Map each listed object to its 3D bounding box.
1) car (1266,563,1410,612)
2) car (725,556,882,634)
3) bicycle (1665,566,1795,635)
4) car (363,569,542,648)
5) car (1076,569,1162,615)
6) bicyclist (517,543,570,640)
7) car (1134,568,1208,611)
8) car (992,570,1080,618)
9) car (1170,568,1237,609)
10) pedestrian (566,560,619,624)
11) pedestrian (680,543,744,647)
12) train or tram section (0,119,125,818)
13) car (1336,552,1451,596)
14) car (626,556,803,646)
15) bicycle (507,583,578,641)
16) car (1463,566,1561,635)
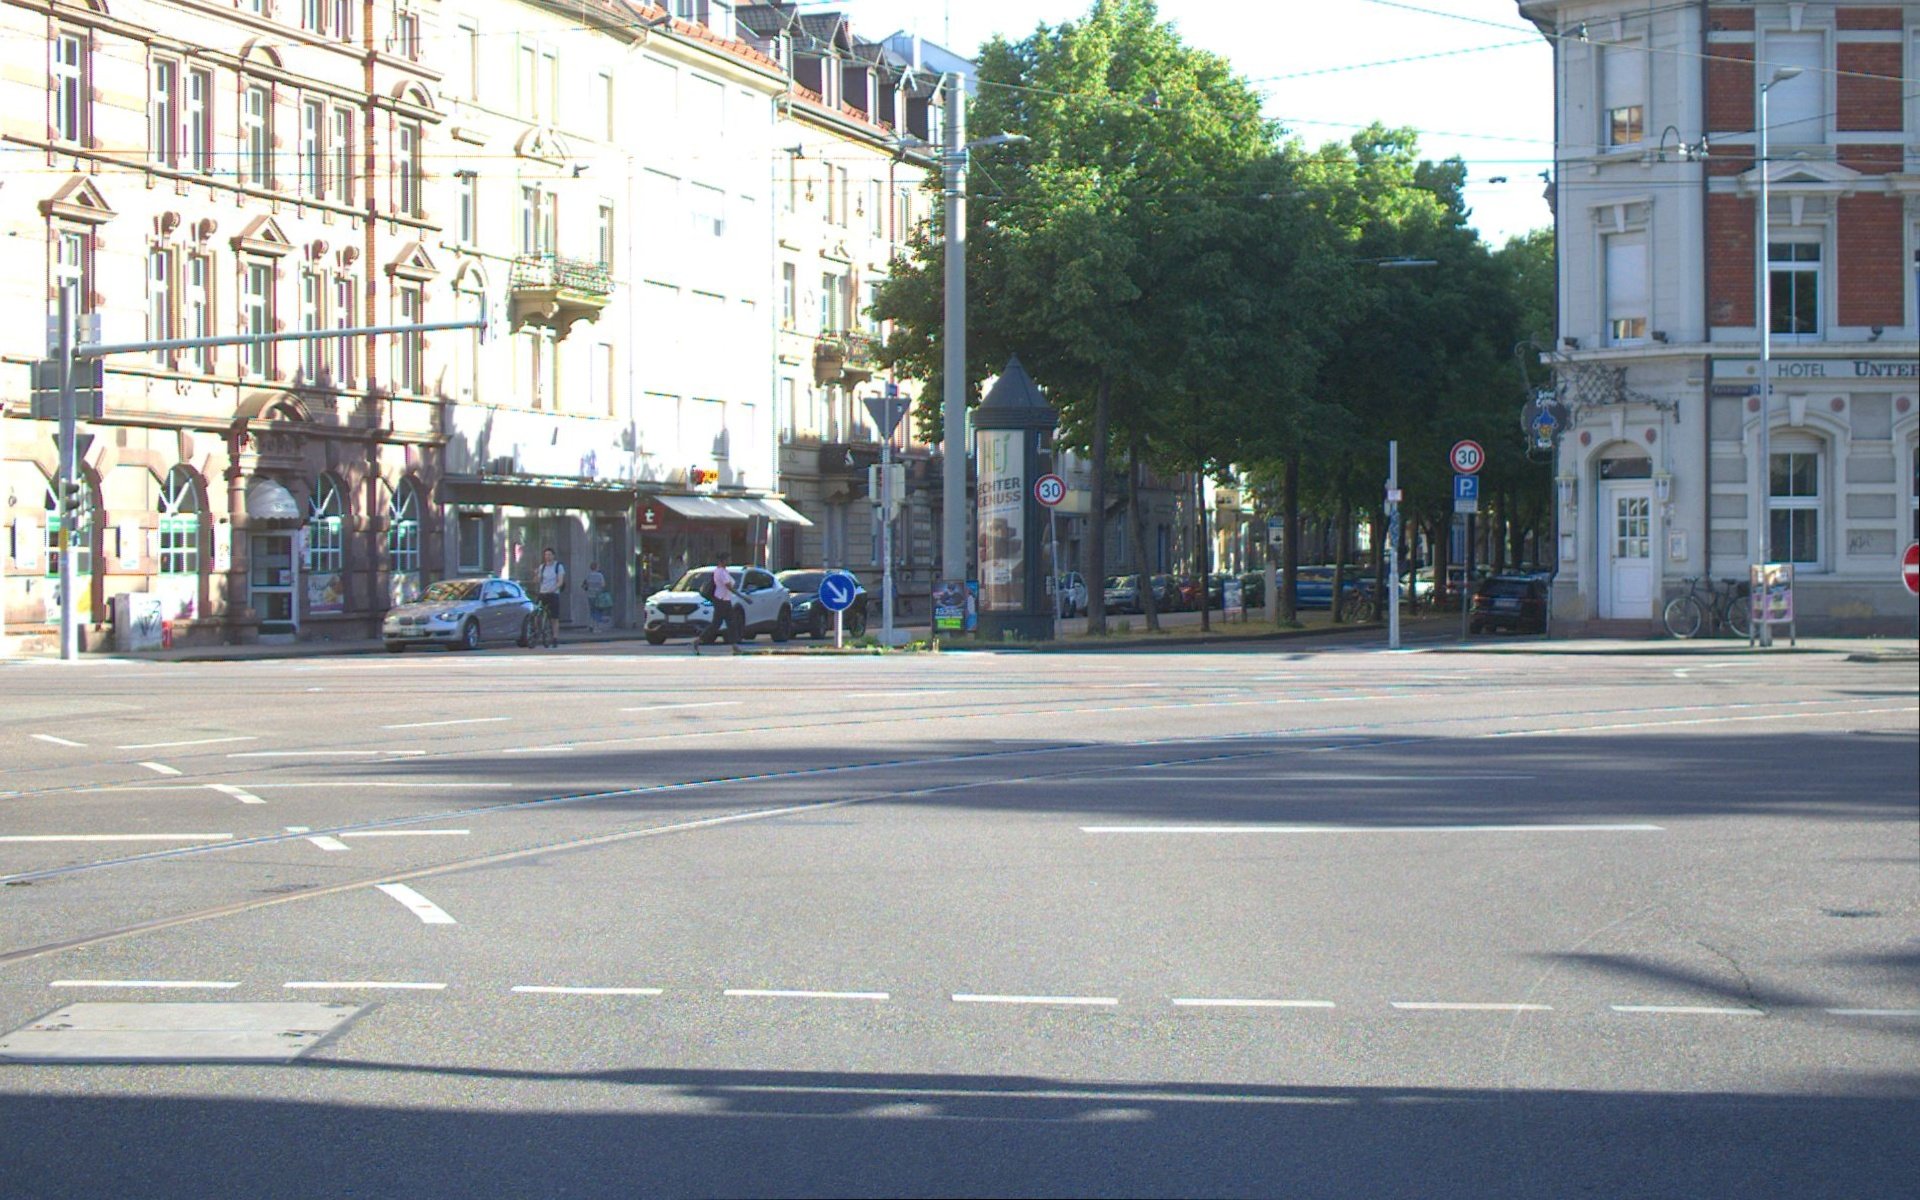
[{"bbox_3d":[12.676,-0.436,115.319,4.382,1.606,1.997,0,1,27],"label":"car"},{"bbox_3d":[-3.322,-0.134,73.866,1.995,1.606,4.387,0,1,17],"label":"car"},{"bbox_3d":[12.856,0.011,57.420,2.085,1.120,0.367,1,0,-4],"label":"bicycle"},{"bbox_3d":[-9.854,0.149,67.077,1.900,1.450,3.997,0,1,17],"label":"car"},{"bbox_3d":[5.694,-0.298,122.694,1.995,1.607,4.387,0,1,17],"label":"car"},{"bbox_3d":[-7.880,-0.162,65.074,0.679,1.814,1.070,0,1,12],"label":"bicyclist"},{"bbox_3d":[8.020,-0.418,130.484,1.839,1.547,4.387,0,1,17],"label":"car"},{"bbox_3d":[2.476,-0.222,110.992,1.995,1.481,3.998,0,1,14],"label":"car"},{"bbox_3d":[9.685,-0.467,136.361,1.766,1.544,4.387,0,1,16],"label":"car"},{"bbox_3d":[-8.781,-0.196,82.241,0.929,1.530,1.136,0,1,14],"label":"pedestrian"},{"bbox_3d":[-4.178,-0.092,57.880,1.046,1.738,0.809,0,1,-7],"label":"pedestrian"},{"bbox_3d":[-7.605,-0.703,20.073,2.815,3.488,7.962,-1,1,-33],"label":"train or tram section"},{"bbox_3d":[16.847,-1.013,133.655,3.993,1.700,1.997,0,1,30],"label":"car"},{"bbox_3d":[-4.766,-0.016,67.353,1.995,1.678,4.387,0,1,17],"label":"car"},{"bbox_3d":[-7.891,0.218,65.038,0.680,1.062,2.124,0,1,12],"label":"bicycle"},{"bbox_3d":[13.264,-0.010,82.472,1.995,1.579,3.998,0,1,14],"label":"car"}]
